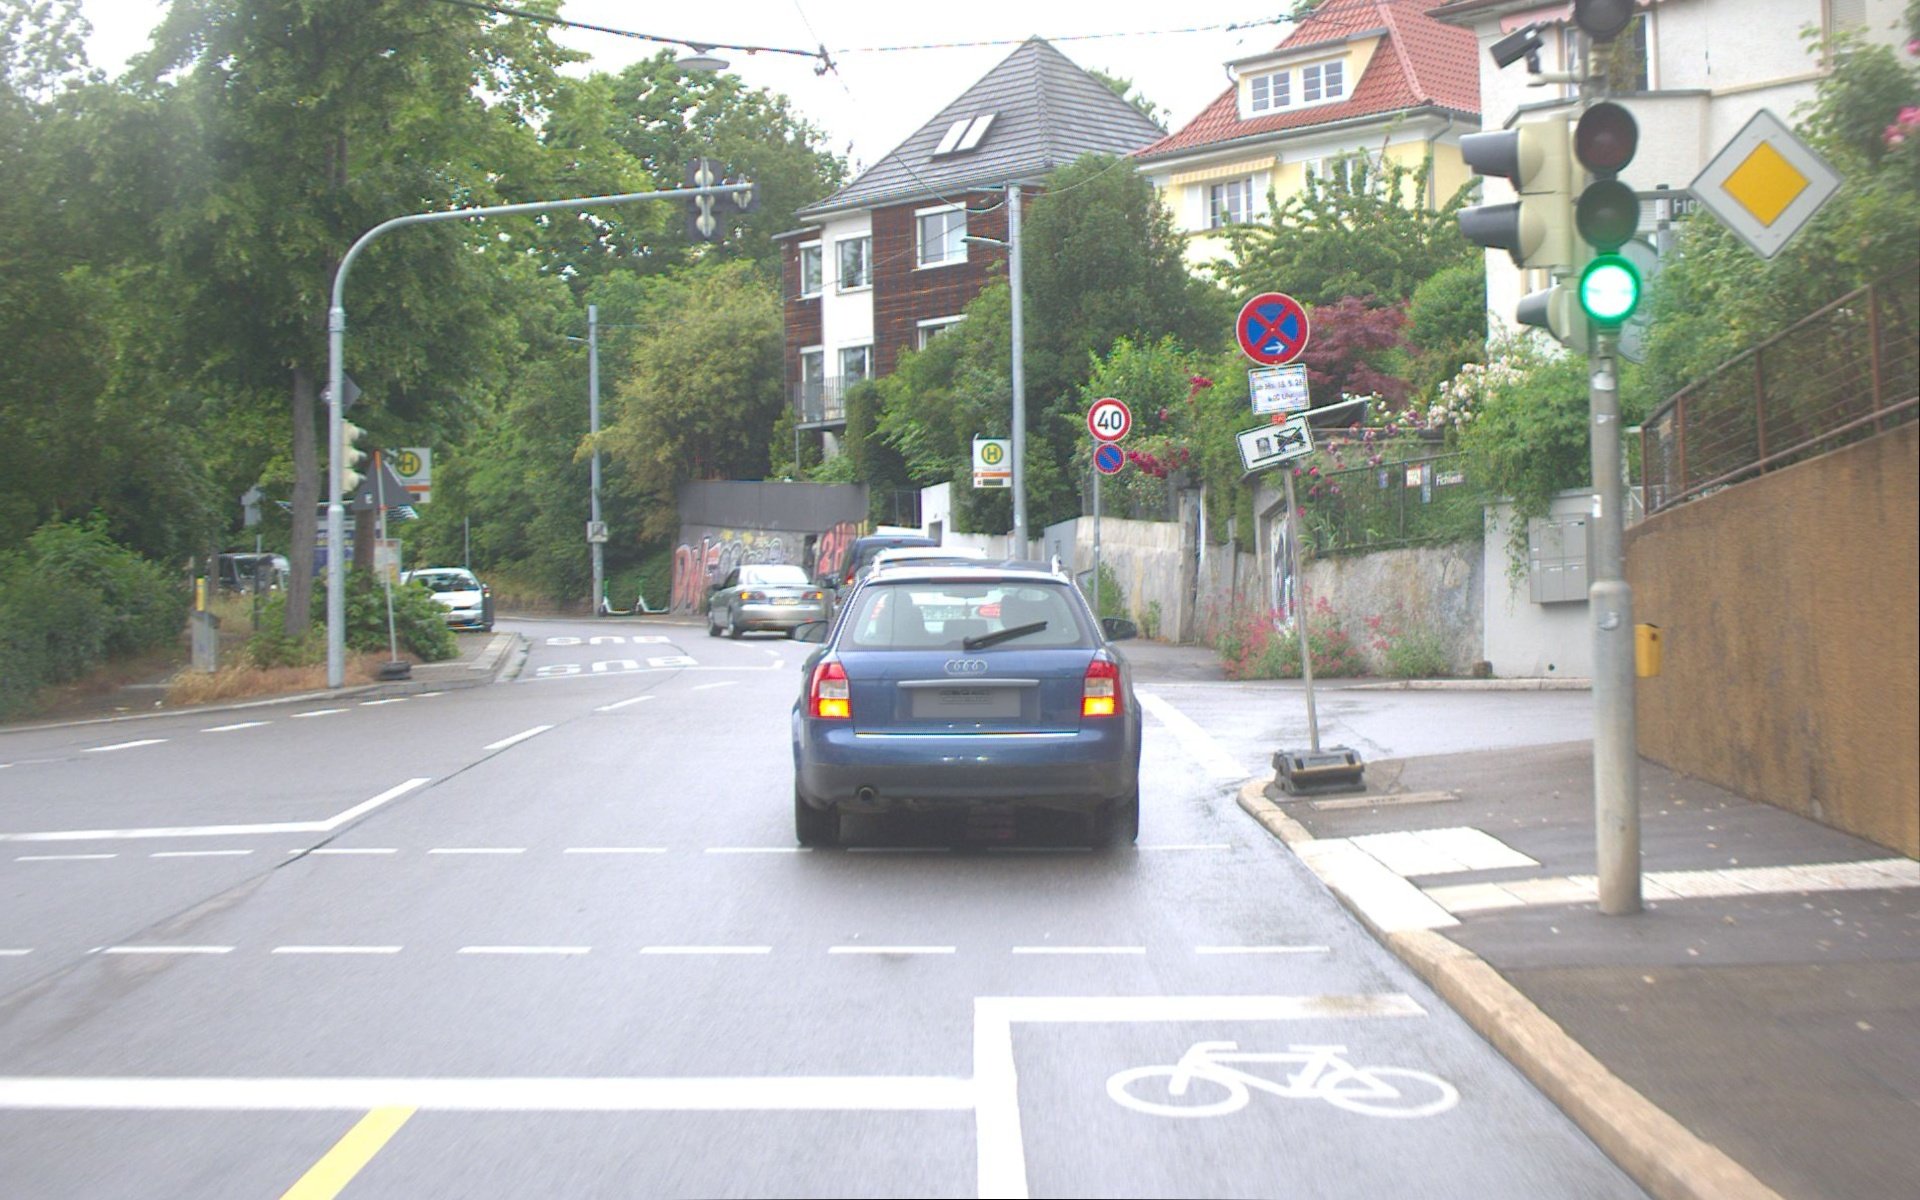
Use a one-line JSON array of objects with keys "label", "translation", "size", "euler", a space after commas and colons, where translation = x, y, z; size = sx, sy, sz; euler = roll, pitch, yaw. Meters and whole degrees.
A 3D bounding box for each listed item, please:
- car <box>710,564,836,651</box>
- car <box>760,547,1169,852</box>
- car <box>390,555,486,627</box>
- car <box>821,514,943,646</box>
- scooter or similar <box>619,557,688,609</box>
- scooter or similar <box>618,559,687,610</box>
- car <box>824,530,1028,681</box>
[{"label": "car", "translation": [-3.640, 0.110, 66.354], "size": [1.765, 1.564, 4.031], "euler": [-2, 1, -12]}, {"label": "car", "translation": [0.138, 0.445, 18.297], "size": [1.777, 1.434, 3.999], "euler": [0, 1, 6]}, {"label": "car", "translation": [-10.987, -0.204, 72.228], "size": [1.673, 1.422, 4.001], "euler": [-2, 1, -13]}, {"label": "car", "translation": [-1.192, -0.330, 52.519], "size": [1.730, 1.888, 4.055], "euler": [-2, 1, -1]}, {"label": "scooter or similar", "translation": [-8.723, -0.479, 97.806], "size": [1.833, 1.310, 0.600], "euler": [4, -3, -12]}, {"label": "scooter or similar", "translation": [-8.814, -0.439, 98.638], "size": [1.833, 1.310, 0.600], "euler": [4, -3, -12]}, {"label": "car", "translation": [-0.360, 0.067, 35.048], "size": [1.908, 1.384, 4.350], "euler": [2, 0, -1]}]
